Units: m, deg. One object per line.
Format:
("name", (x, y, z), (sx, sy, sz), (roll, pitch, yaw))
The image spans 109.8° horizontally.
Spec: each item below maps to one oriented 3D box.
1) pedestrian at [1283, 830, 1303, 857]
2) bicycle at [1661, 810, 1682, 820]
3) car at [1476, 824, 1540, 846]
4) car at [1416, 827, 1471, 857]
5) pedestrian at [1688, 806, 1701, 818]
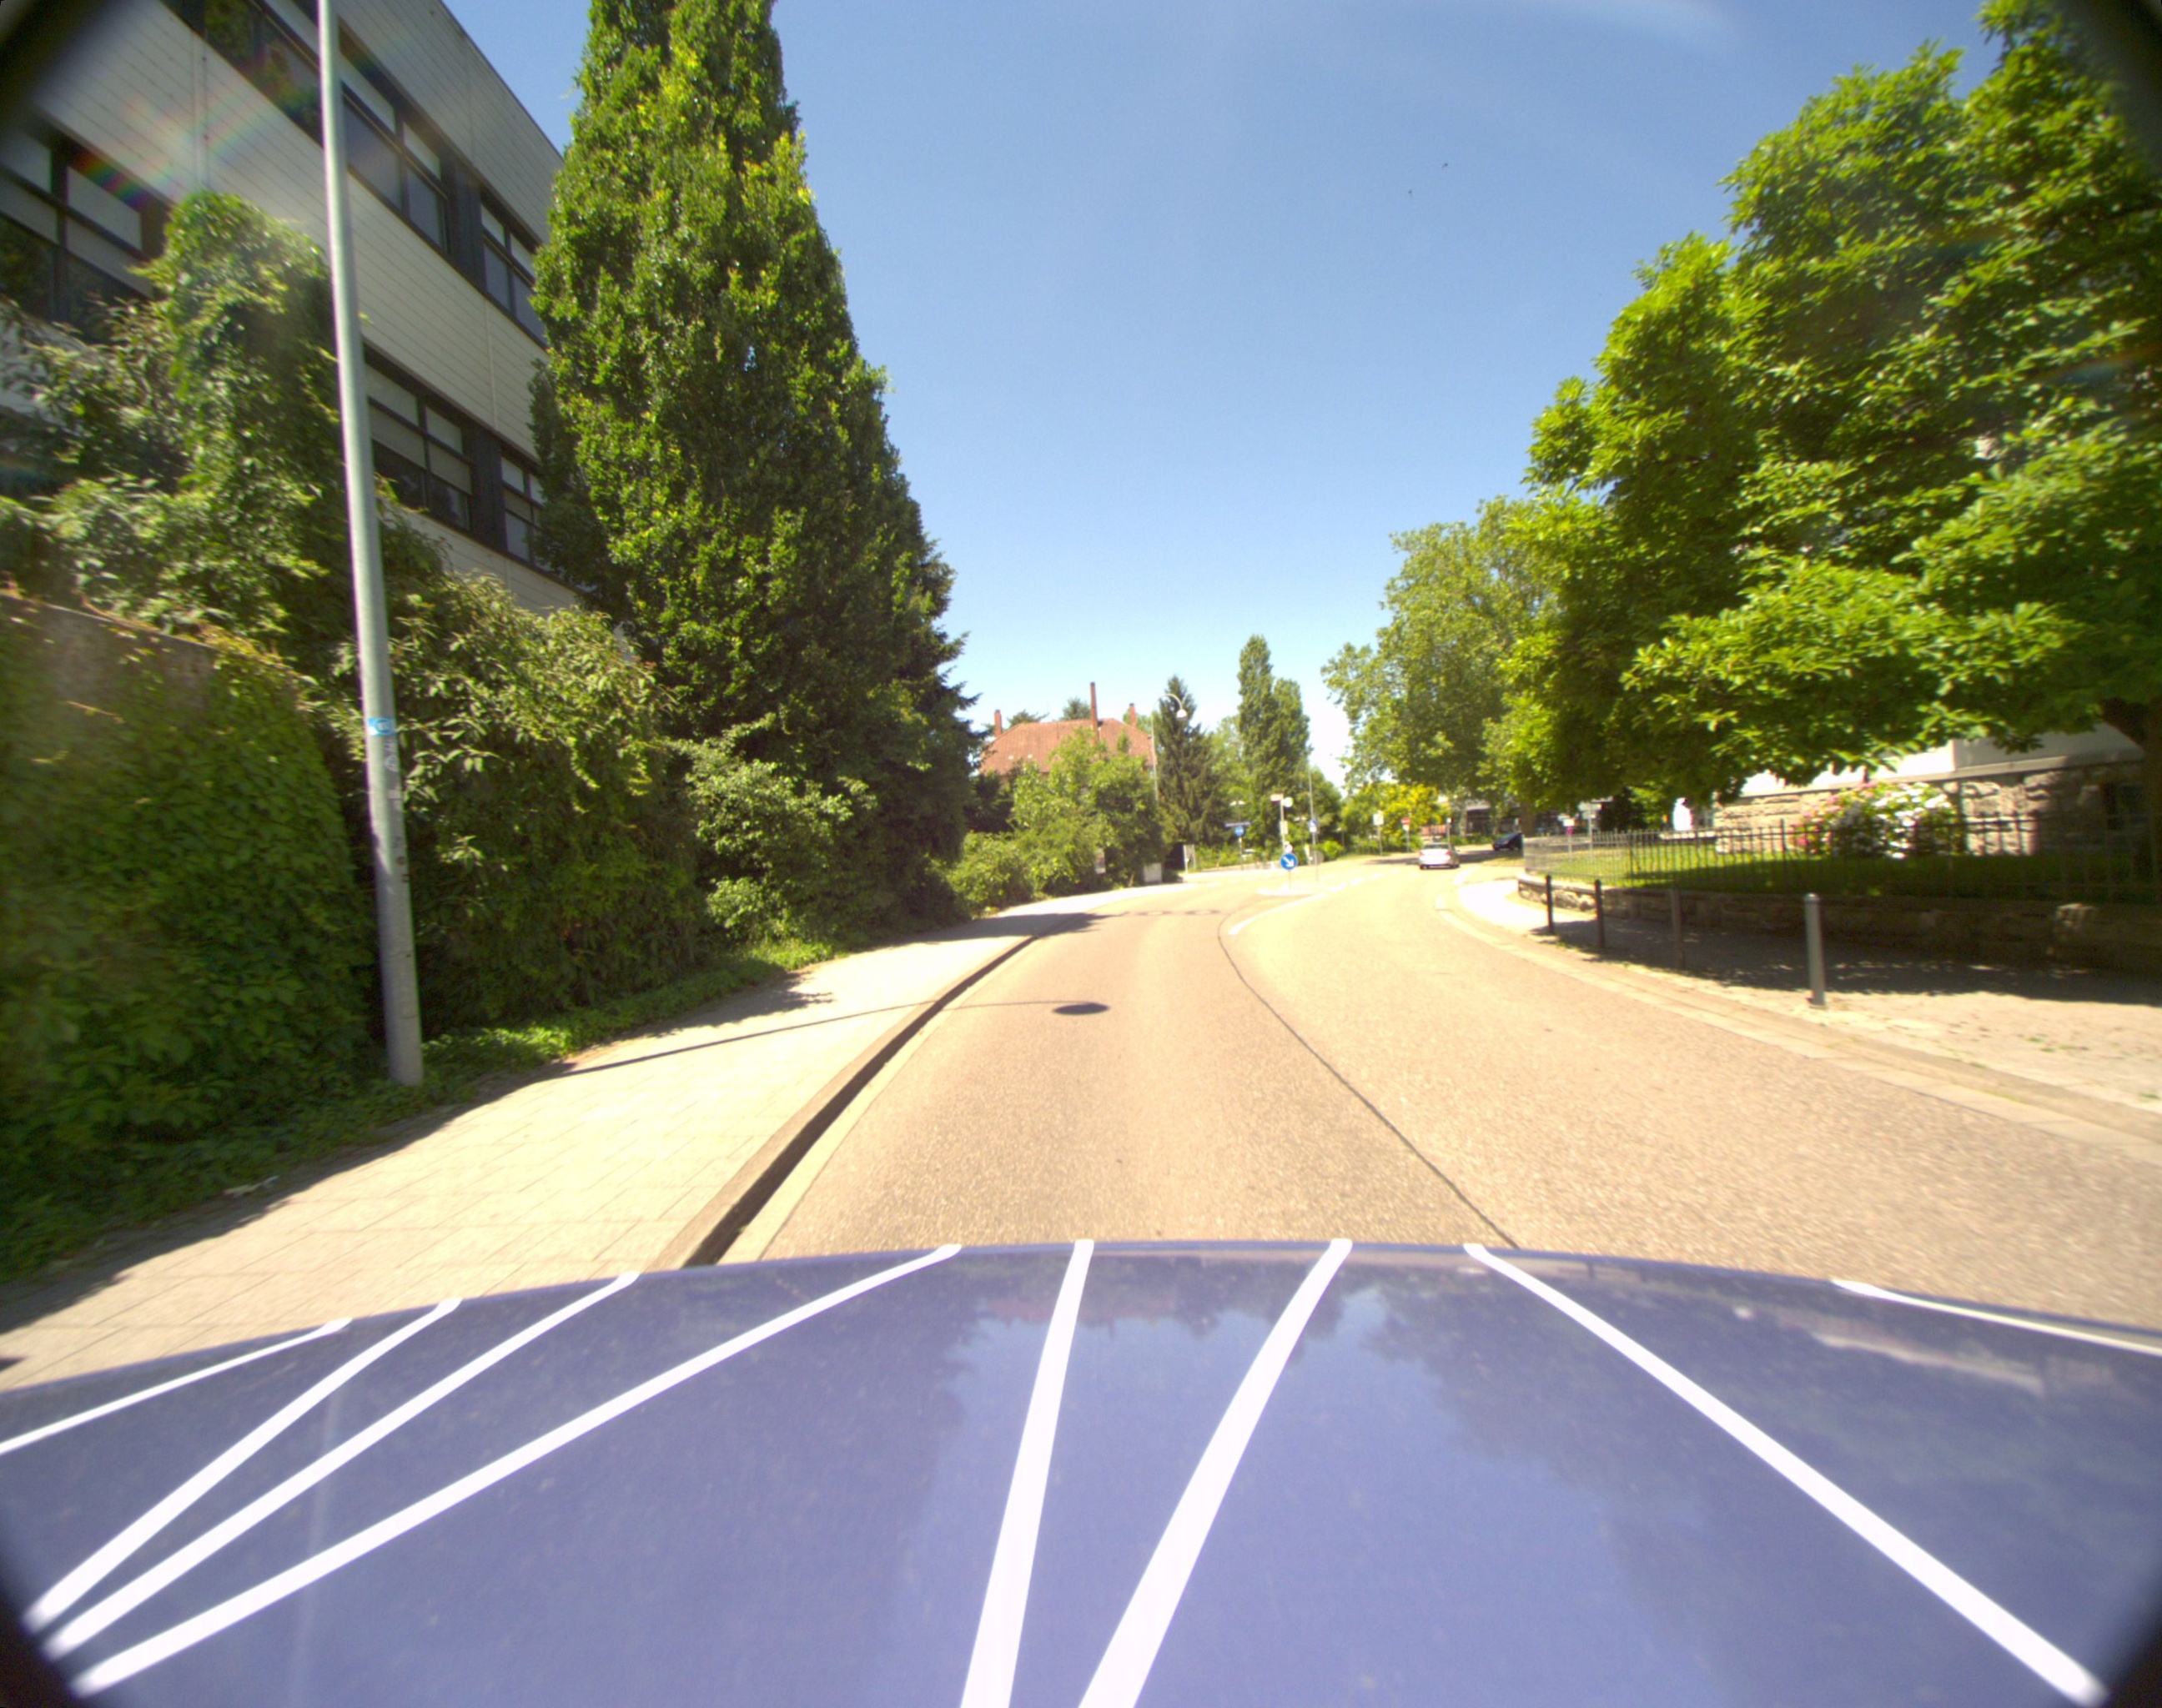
("pedestrian", (14.388, -0.687, 51.553), (0.917, 1.762, 0.912), (-4, 3, -39))
("bicycle", (81.084, -5.350, 104.277), (2.167, 1.067, 0.670), (-7, 2, 5))
("car", (34.612, -1.550, 61.671), (4.180, 1.536, 1.779), (-4, 2, 0))
("car", (19.301, -0.656, 40.379), (1.759, 1.427, 4.312), (-1, 1, 37))
("pedestrian", (78.829, -5.417, 97.628), (0.830, 1.378, 0.963), (-4, 1, 2))
